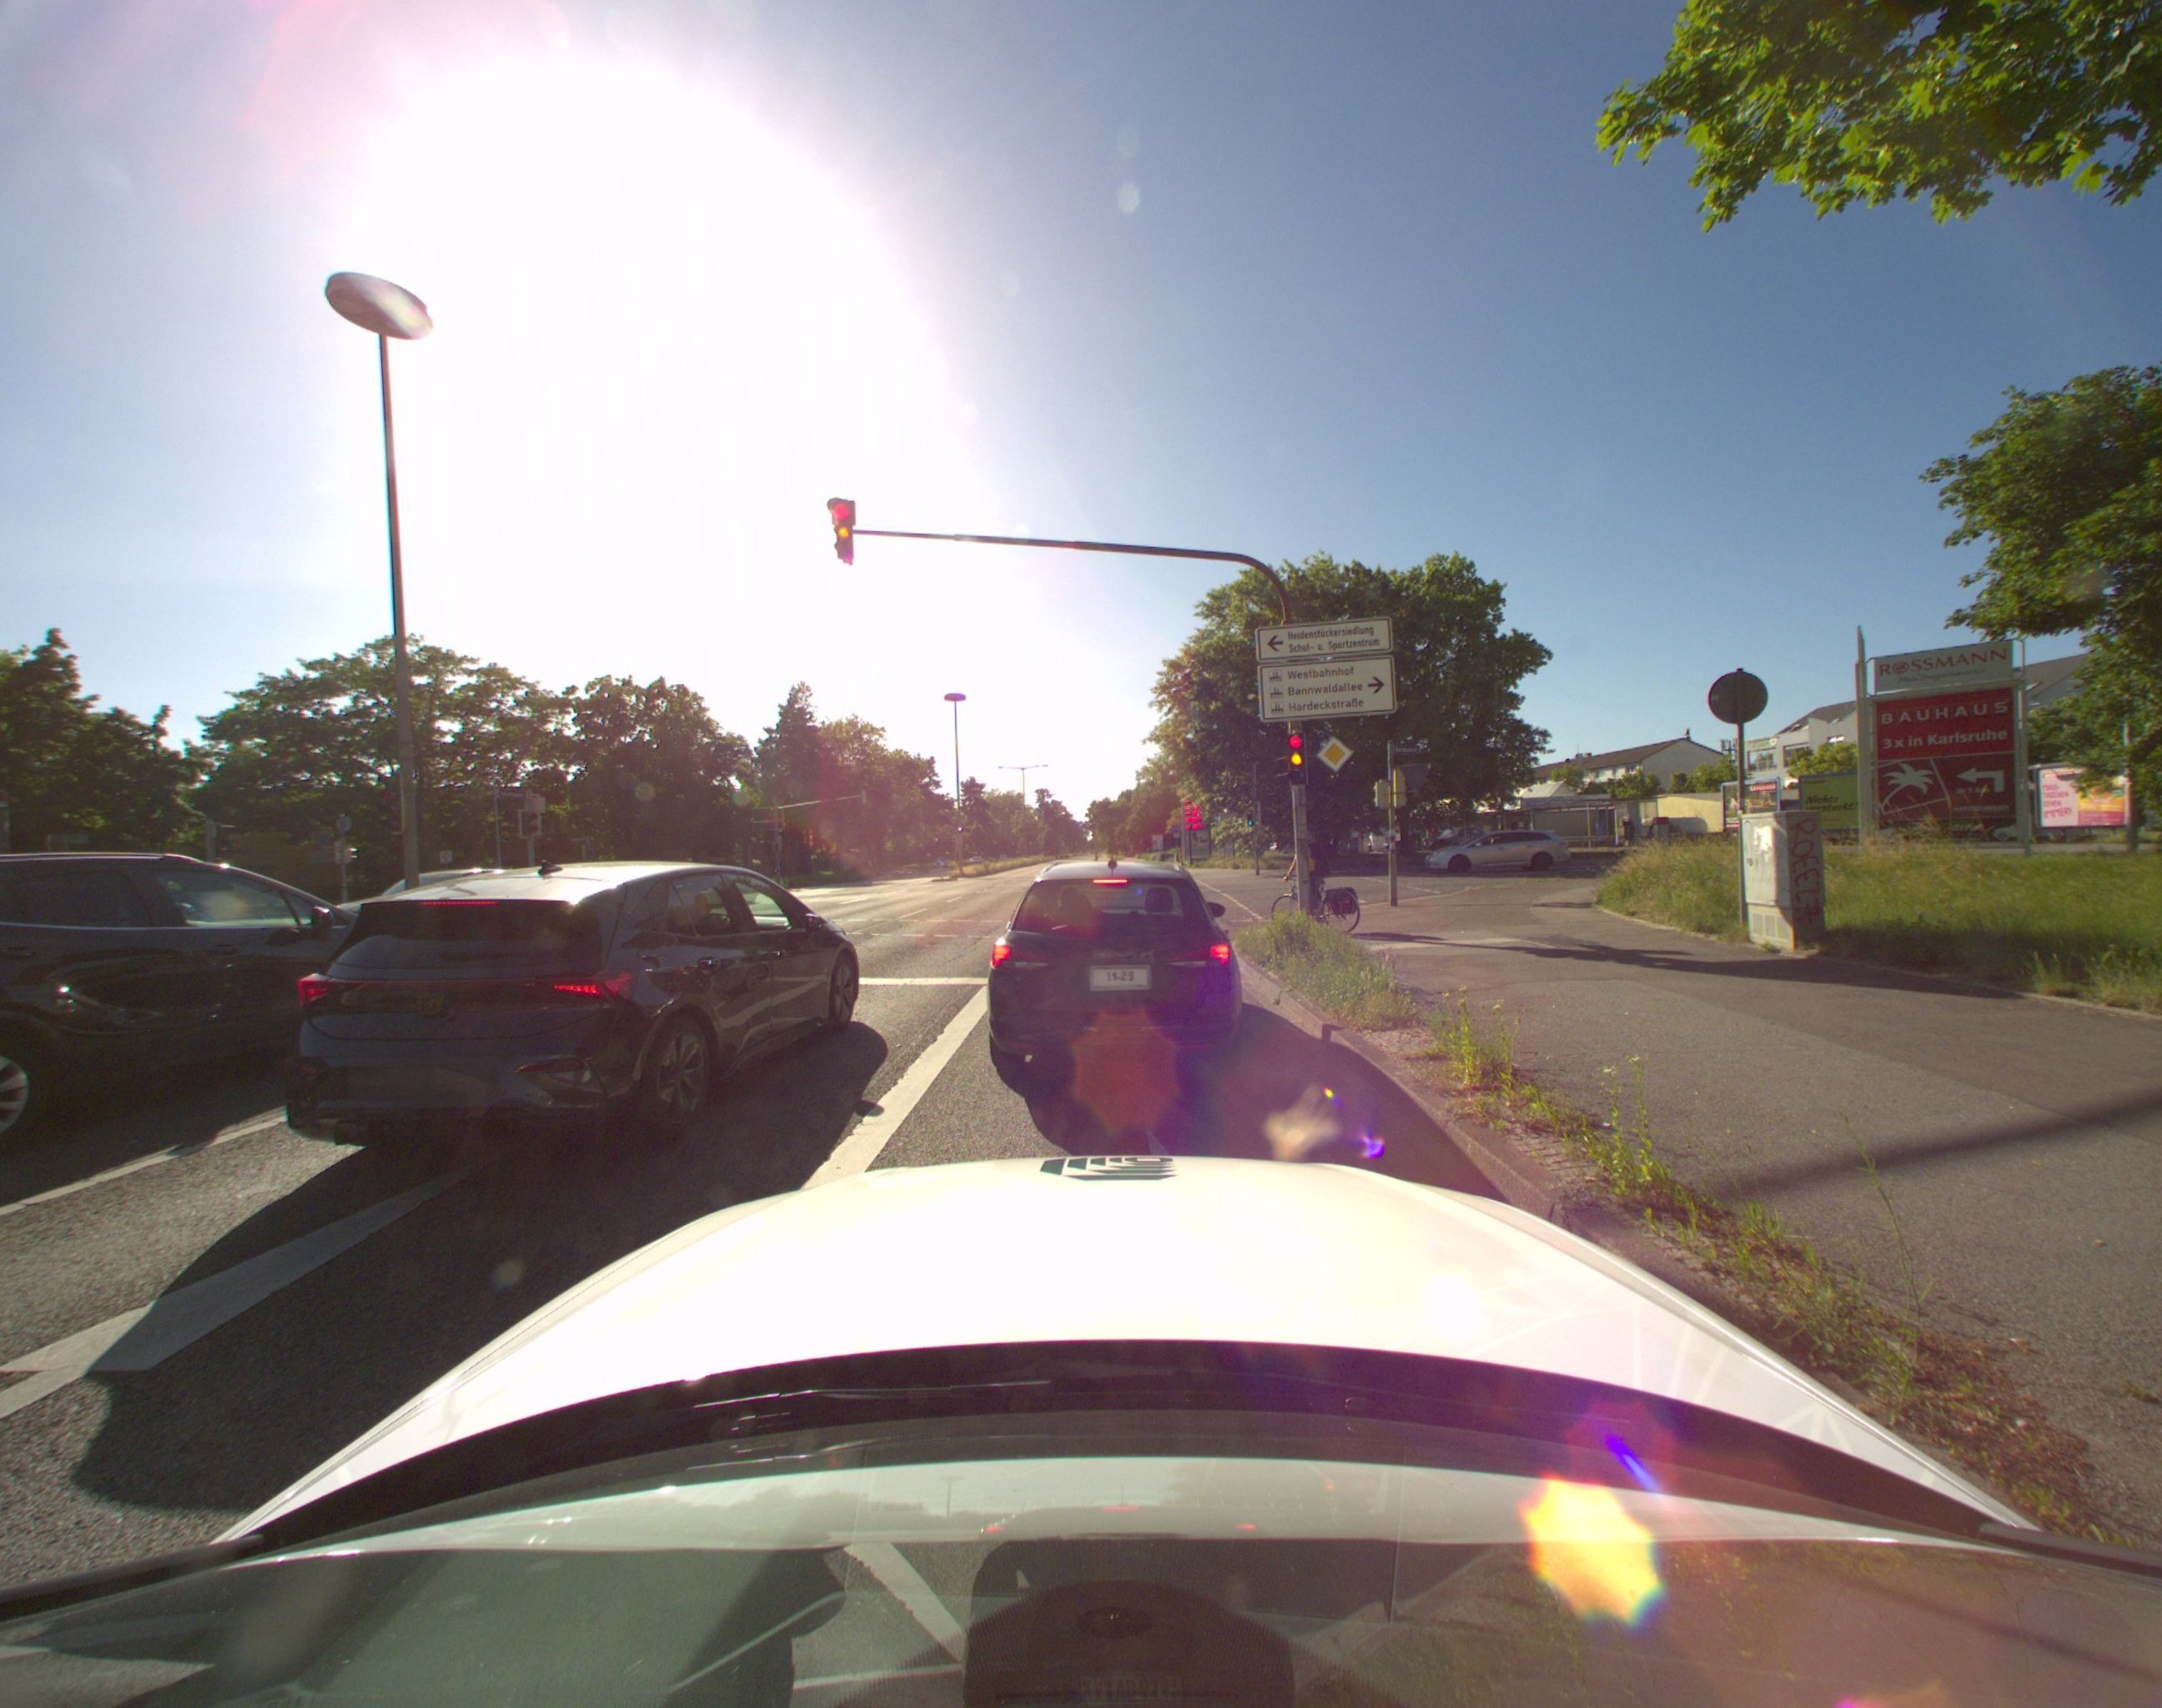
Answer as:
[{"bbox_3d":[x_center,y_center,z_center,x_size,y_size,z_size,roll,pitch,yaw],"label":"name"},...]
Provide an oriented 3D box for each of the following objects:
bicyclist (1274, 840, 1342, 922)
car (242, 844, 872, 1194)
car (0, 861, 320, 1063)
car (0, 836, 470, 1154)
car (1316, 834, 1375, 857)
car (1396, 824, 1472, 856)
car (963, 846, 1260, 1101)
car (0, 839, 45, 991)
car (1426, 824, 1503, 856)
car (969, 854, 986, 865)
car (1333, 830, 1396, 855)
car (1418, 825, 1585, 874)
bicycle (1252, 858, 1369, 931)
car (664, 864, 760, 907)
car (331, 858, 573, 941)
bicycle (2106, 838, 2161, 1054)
[{"bbox_3d":[3.716,0.449,13.366,0.541,1.277,0.819,-3,-2,-42],"label":"bicyclist"},{"bbox_3d":[-2.961,0.771,5.849,1.678,1.580,4.208,-1,0,2],"label":"car"},{"bbox_3d":[-10.225,0.987,7.914,1.824,1.702,3.999,-3,0,0],"label":"car"},{"bbox_3d":[-6.621,0.786,5.512,1.798,1.689,4.002,-3,0,2],"label":"car"},{"bbox_3d":[19.327,-0.612,59.518,3.903,1.517,1.733,-3,0,-21],"label":"car"},{"bbox_3d":[21.390,-0.819,49.365,4.003,1.750,1.985,-3,0,-22],"label":"car"},{"bbox_3d":[0.247,0.724,6.958,1.750,1.495,4.208,-1,0,2],"label":"car"},{"bbox_3d":[-18.825,1.052,10.875,2.092,2.492,6.006,-3,0,2],"label":"car"},{"bbox_3d":[22.377,-0.812,47.518,4.002,1.680,1.733,-3,0,-21],"label":"car"},{"bbox_3d":[-15.829,0.794,124.490,1.986,1.530,4.001,-3,0,1],"label":"car"},{"bbox_3d":[19.662,-0.819,56.426,3.903,1.517,1.733,-3,0,-21],"label":"car"},{"bbox_3d":[14.963,-0.166,29.286,4.969,1.486,2.007,-2,0,13],"label":"car"},{"bbox_3d":[3.730,0.687,13.365,0.541,1.097,1.755,-3,-2,-42],"label":"bicycle"},{"bbox_3d":[-14.538,1.207,32.369,1.769,1.463,4.166,-3,0,2],"label":"car"},{"bbox_3d":[-14.621,0.973,19.368,1.986,1.601,4.617,-3,0,2],"label":"car"},{"bbox_3d":[5.682,0.486,3.365,0.575,1.097,1.993,-4,1,9],"label":"bicycle"}]
